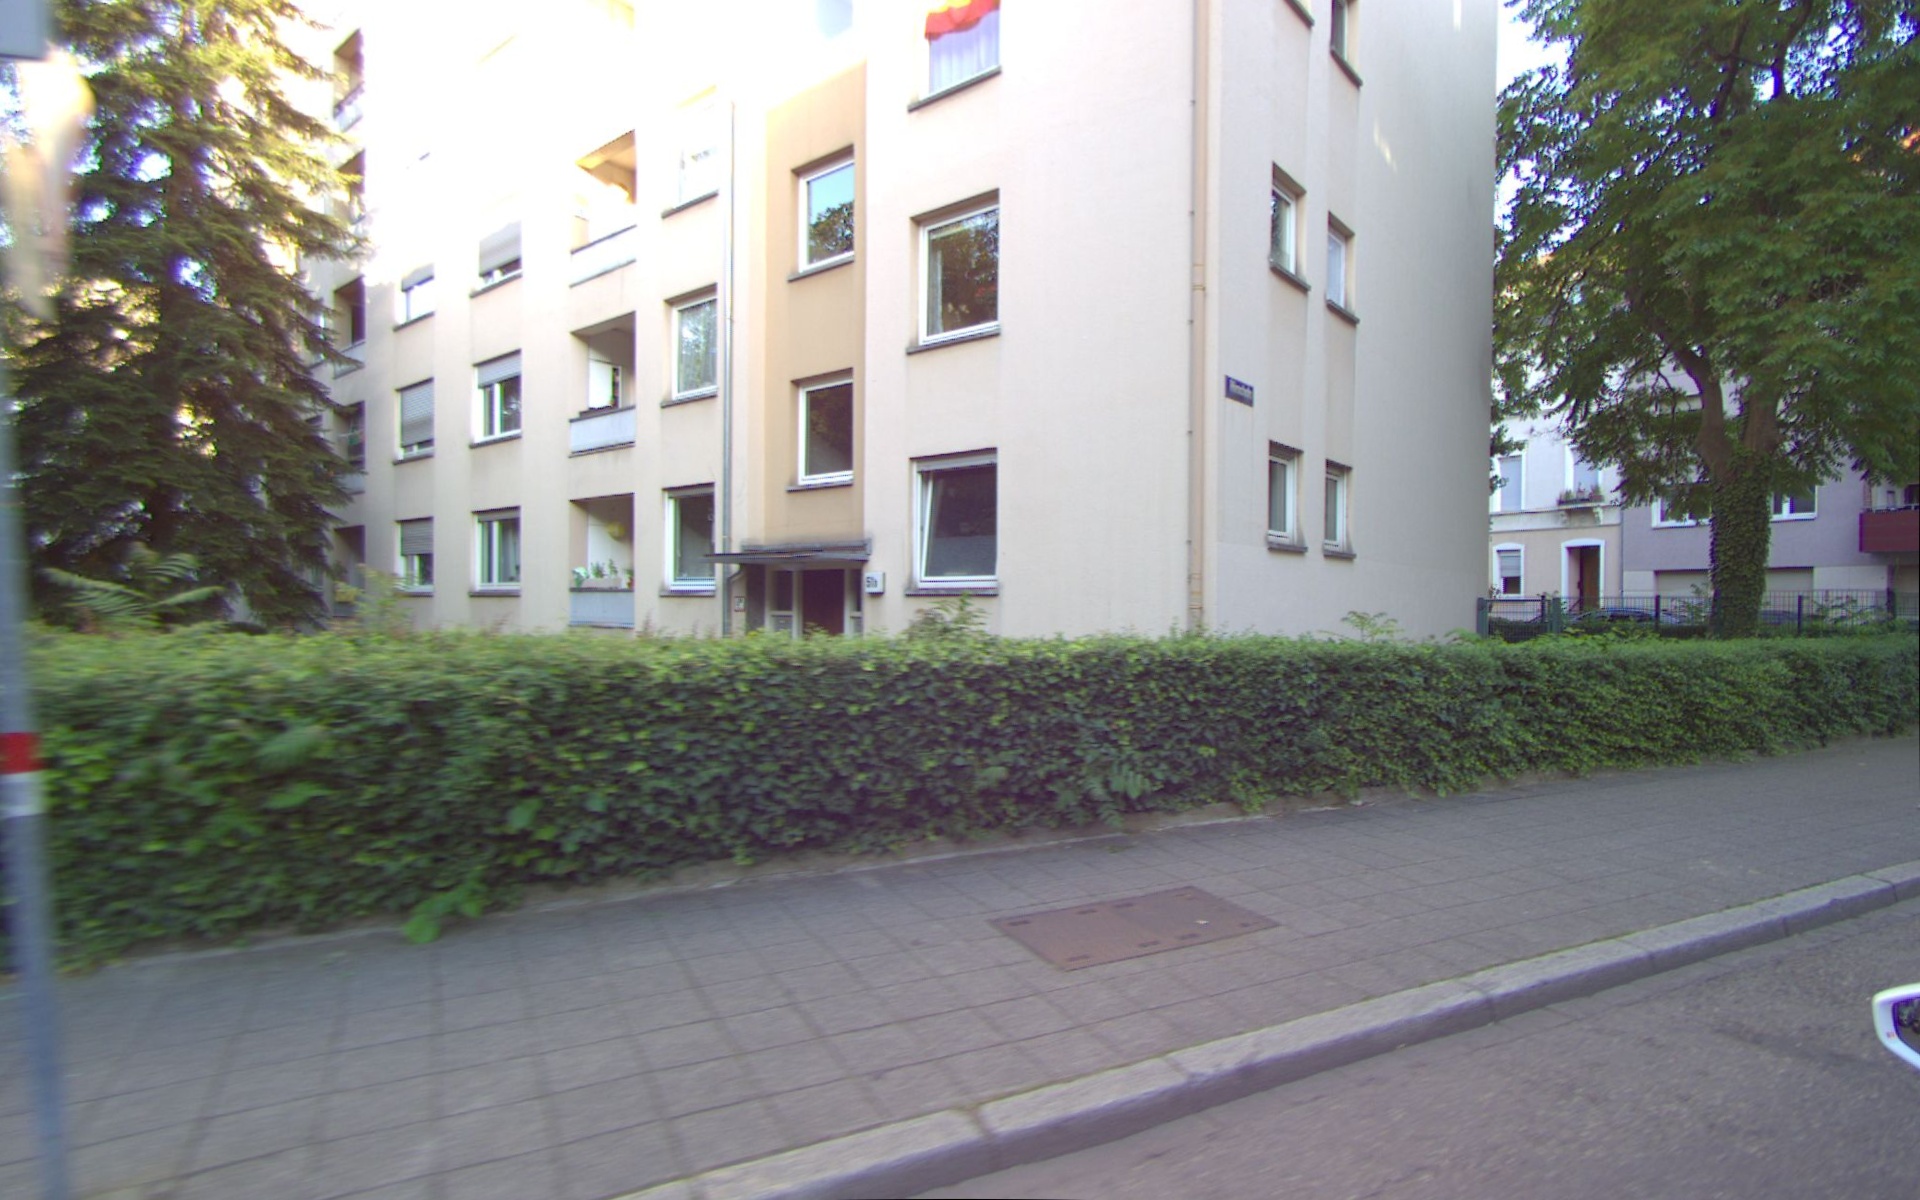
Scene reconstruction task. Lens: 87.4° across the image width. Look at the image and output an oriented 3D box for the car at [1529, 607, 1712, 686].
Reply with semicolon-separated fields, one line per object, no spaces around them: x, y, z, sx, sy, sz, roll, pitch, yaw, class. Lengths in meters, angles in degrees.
16.889;1.116;25.827;1.863;1.780;3.505;-1;1;-30;car
